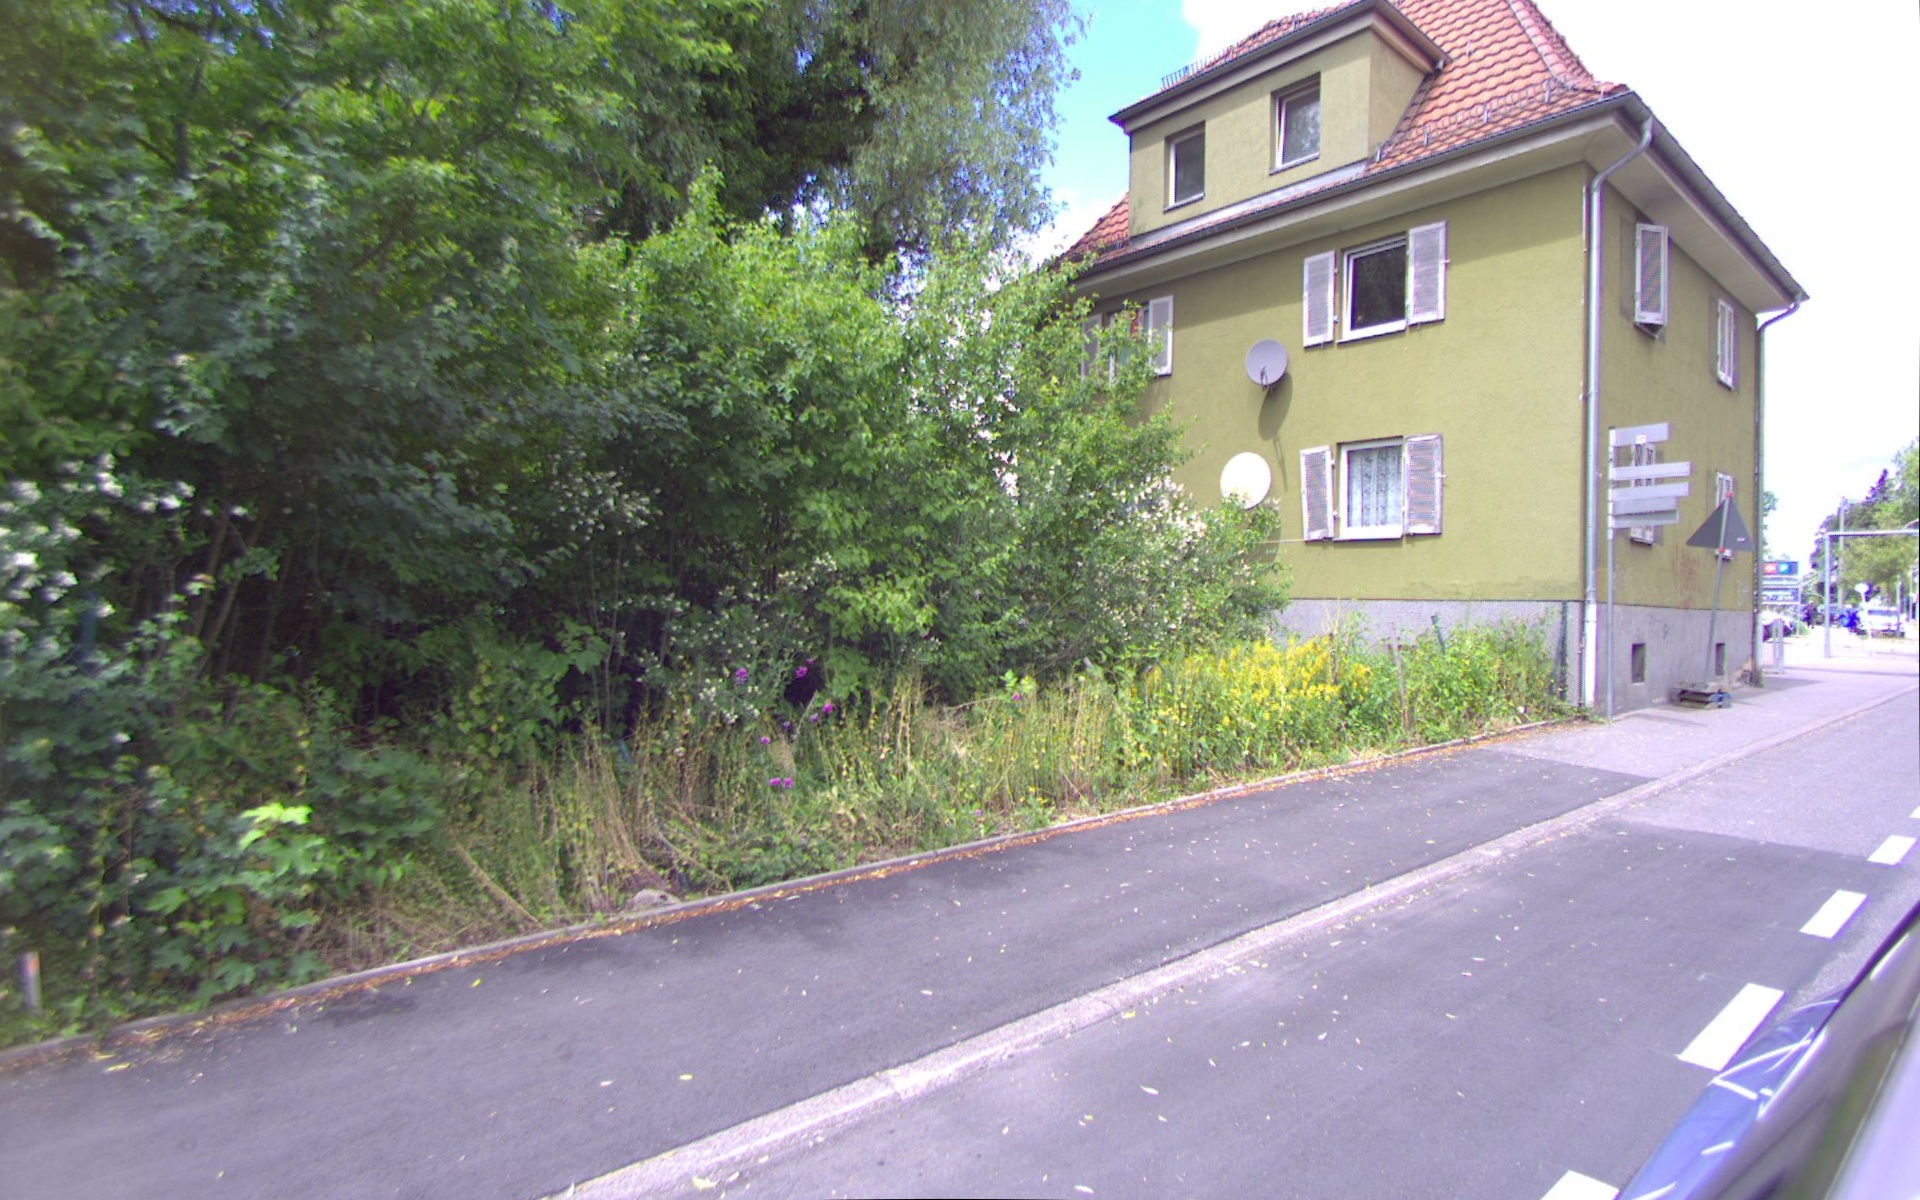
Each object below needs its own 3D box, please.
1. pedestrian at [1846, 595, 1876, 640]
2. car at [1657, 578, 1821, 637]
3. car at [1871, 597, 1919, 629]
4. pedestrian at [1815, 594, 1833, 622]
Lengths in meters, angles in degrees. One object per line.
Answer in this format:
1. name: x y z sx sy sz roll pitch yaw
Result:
1. pedestrian: 32.043 0.614 36.014 0.726 1.572 1.042 1 0 39
2. car: 28.522 0.230 37.210 1.961 2.019 4.374 0 1 -32
3. car: 47.630 0.629 51.253 3.931 1.529 1.797 0 1 -42
4. pedestrian: 52.962 0.477 62.045 0.765 1.683 0.721 1 -3 -45
